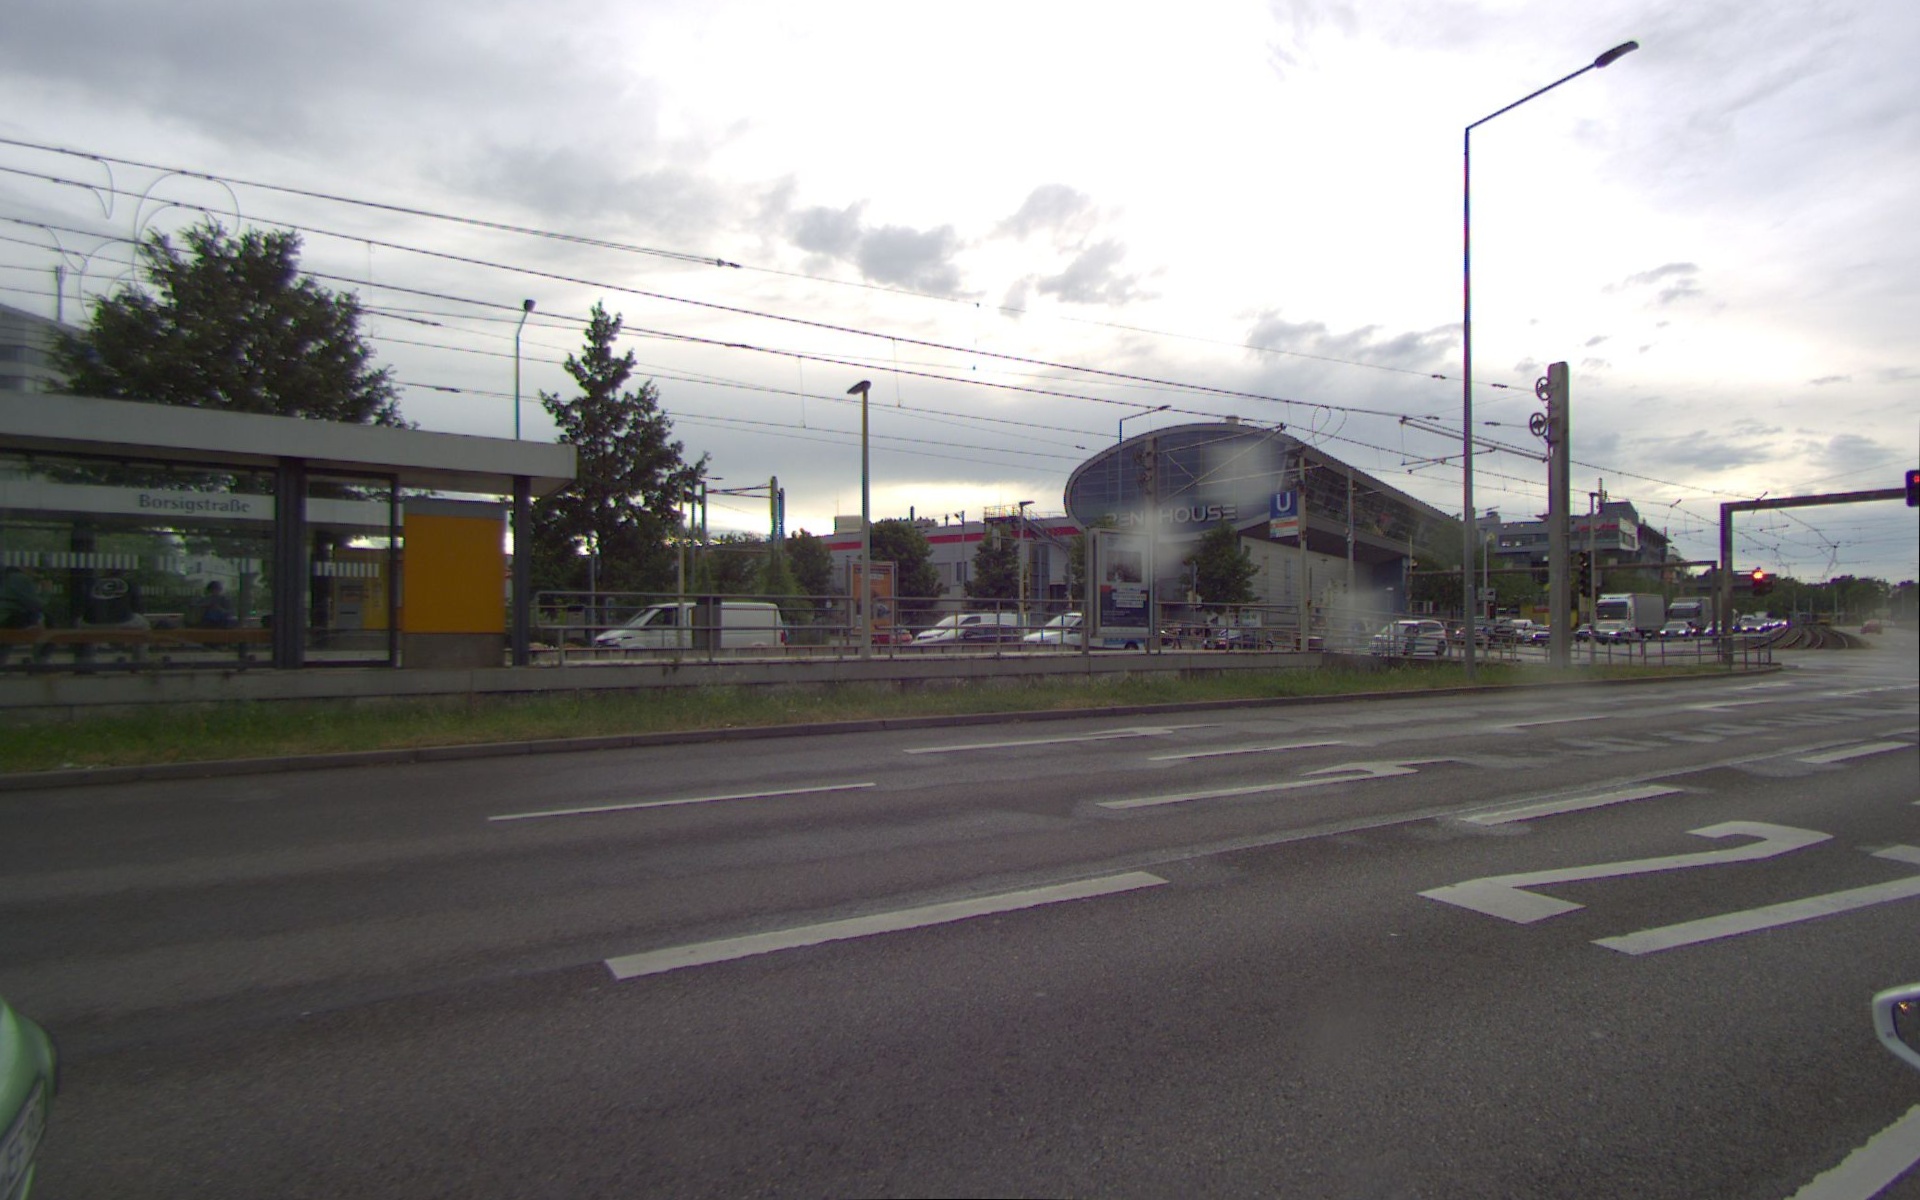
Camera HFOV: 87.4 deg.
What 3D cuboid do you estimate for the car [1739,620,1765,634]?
[{"bbox_3d":[95.345,3.266,120.846,4.536,1.576,1.884,2,0,-45],"label":"car"}]

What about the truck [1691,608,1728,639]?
[{"bbox_3d":[96.610,3.047,129.523,2.704,3.855,5.406,-2,-3,26],"label":"truck"}]

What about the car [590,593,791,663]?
[{"bbox_3d":[-7.405,0.789,27.790,4.980,1.754,1.981,2,0,-35],"label":"car"}]

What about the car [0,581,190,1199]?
[{"bbox_3d":[-3.448,0.659,0.753,4.354,1.488,1.685,2,0,-32],"label":"car"}]

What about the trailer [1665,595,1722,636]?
[{"bbox_3d":[79.229,1.795,108.388,12.656,4.179,2.625,2,-3,-43],"label":"trailer"}]

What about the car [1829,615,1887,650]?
[{"bbox_3d":[55.324,1.975,61.871,4.305,2.041,1.760,1,1,-36],"label":"car"}]

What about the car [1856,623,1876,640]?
[{"bbox_3d":[111.824,3.921,123.906,1.753,2.040,4.323,2,0,42],"label":"car"}]

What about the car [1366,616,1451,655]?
[{"bbox_3d":[20.699,1.634,46.349,4.224,1.689,1.519,2,0,-33],"label":"car"}]

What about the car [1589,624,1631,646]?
[{"bbox_3d":[46.786,2.485,72.299,1.721,1.481,4.126,2,0,45],"label":"car"}]

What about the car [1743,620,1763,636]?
[{"bbox_3d":[105.913,3.710,134.187,1.970,1.862,4.884,1,1,40],"label":"car"}]

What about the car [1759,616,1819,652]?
[{"bbox_3d":[50.041,1.996,60.628,4.305,2.041,1.760,0,1,-36],"label":"car"}]

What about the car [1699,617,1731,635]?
[{"bbox_3d":[73.801,2.563,98.194,4.068,1.674,1.869,2,0,-44],"label":"car"}]

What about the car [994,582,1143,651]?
[{"bbox_3d":[3.839,0.601,35.156,5.090,2.244,1.981,2,0,-34],"label":"car"}]

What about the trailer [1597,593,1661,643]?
[{"bbox_3d":[59.319,1.582,88.915,2.765,4.161,11.373,-2,-2,44],"label":"trailer"}]

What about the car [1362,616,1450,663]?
[{"bbox_3d":[20.683,1.832,46.506,4.305,2.040,1.761,2,0,-36],"label":"car"}]

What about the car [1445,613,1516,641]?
[{"bbox_3d":[30.442,1.570,58.665,4.885,1.517,1.665,2,0,-36],"label":"car"}]

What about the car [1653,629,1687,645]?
[{"bbox_3d":[59.429,3.082,84.066,1.886,1.281,4.391,2,0,42],"label":"car"}]

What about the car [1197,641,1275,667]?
[{"bbox_3d":[13.592,2.648,49.356,3.894,1.146,1.517,2,0,-34],"label":"car"}]

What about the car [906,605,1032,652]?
[{"bbox_3d":[0.372,1.127,40.051,4.615,1.722,2.093,2,0,-33],"label":"car"}]

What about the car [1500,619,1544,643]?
[{"bbox_3d":[41.602,2.287,74.369,4.051,1.648,1.557,2,0,-42],"label":"car"}]

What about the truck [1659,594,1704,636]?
[{"bbox_3d":[75.103,1.649,104.495,6.141,4.184,2.642,2,-3,-43],"label":"truck"}]

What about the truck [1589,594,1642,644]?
[{"bbox_3d":[55.058,1.568,84.364,2.801,4.049,5.954,-1,-2,42],"label":"truck"}]
